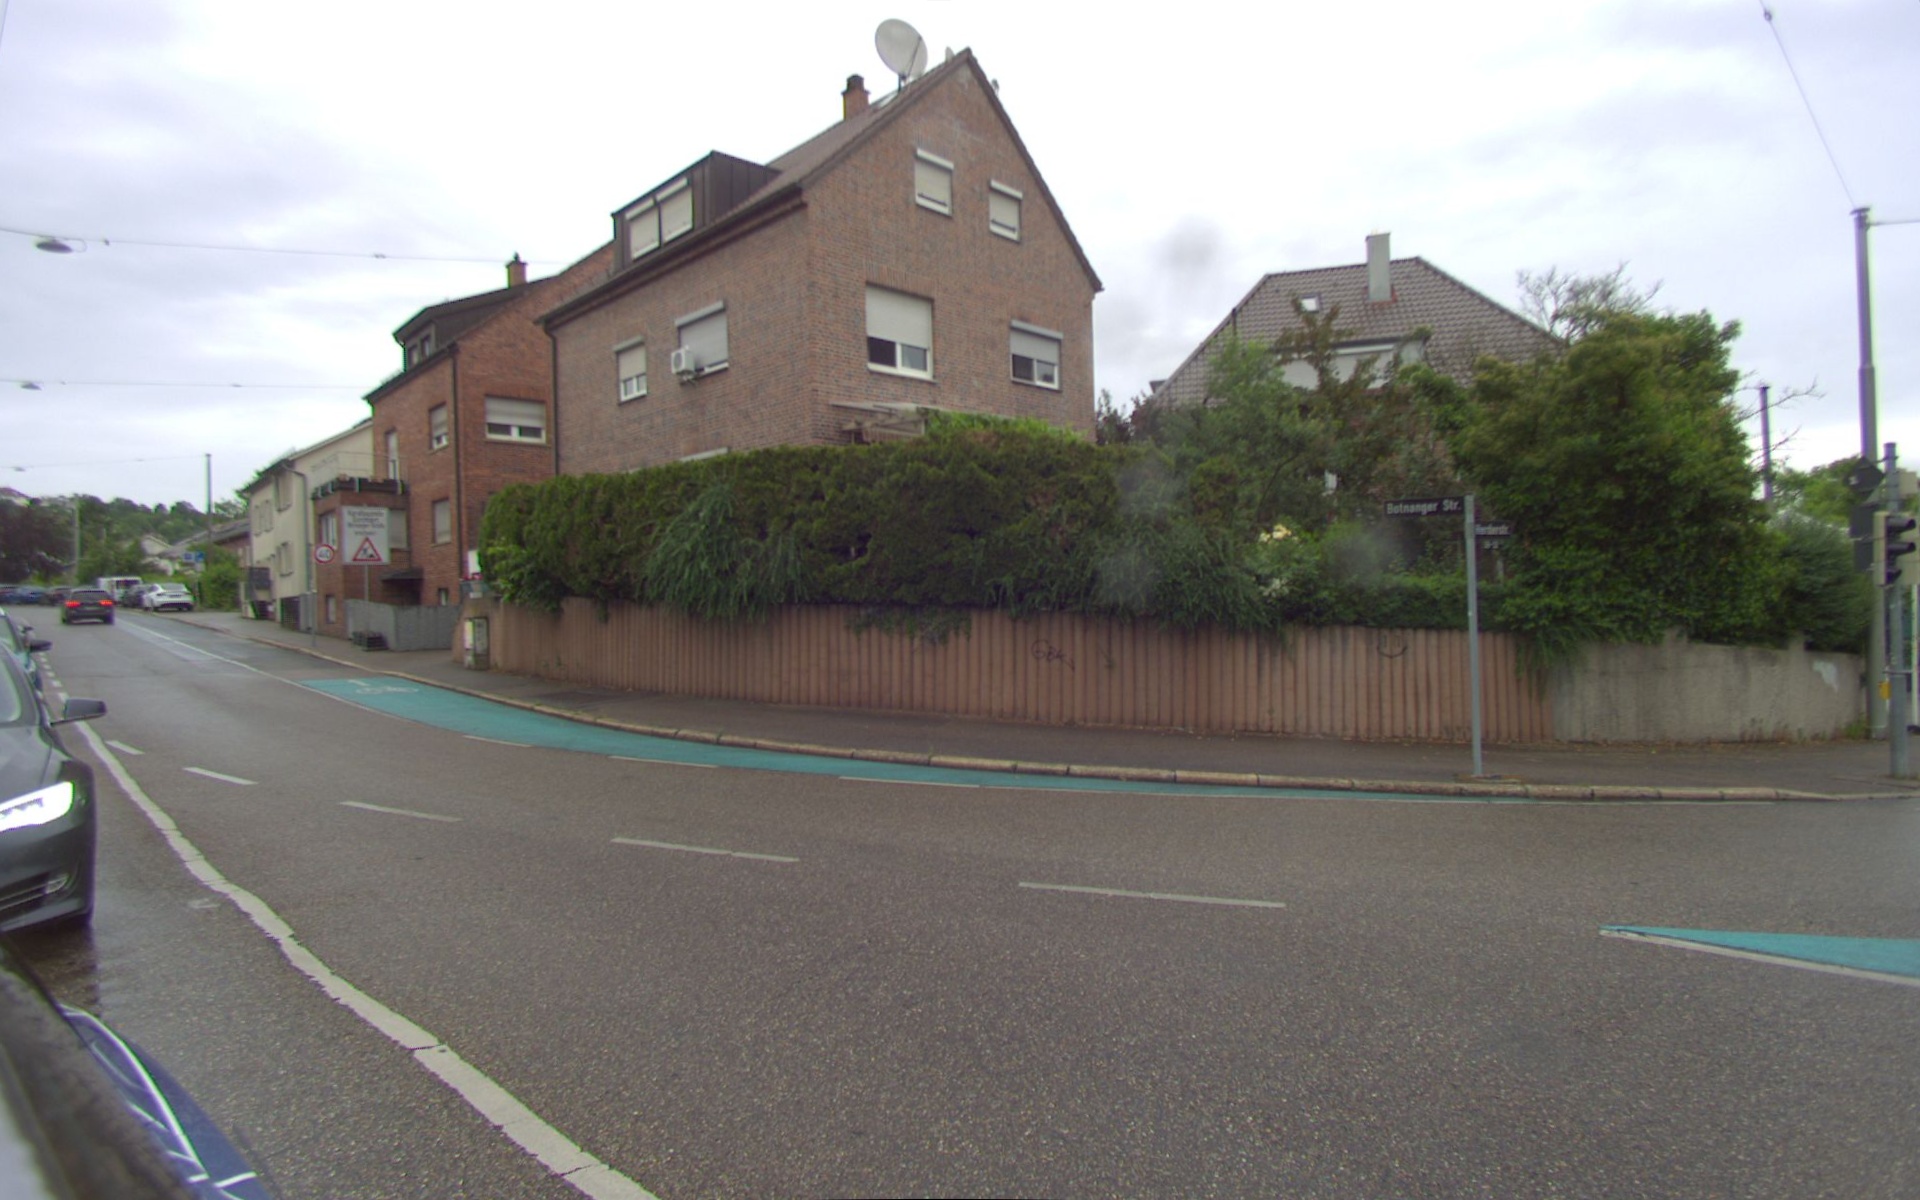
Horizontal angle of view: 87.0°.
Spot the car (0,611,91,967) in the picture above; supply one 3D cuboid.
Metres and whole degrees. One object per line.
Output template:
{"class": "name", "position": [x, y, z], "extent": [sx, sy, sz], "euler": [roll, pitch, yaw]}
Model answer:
{"class": "car", "position": [-5.797, 0.794, 5.102], "extent": [4.002, 1.426, 1.845], "euler": [0, 0, 45]}

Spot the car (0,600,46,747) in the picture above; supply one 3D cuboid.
{"class": "car", "position": [-12.155, 0.801, 11.996], "extent": [3.785, 1.601, 1.765], "euler": [0, 0, 45]}

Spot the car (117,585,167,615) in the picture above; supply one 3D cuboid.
{"class": "car", "position": [-52.370, -0.025, 64.748], "extent": [4.262, 1.817, 1.791], "euler": [0, 2, 42]}

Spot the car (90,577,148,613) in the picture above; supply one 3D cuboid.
{"class": "car", "position": [-57.016, -0.335, 68.606], "extent": [4.544, 2.303, 2.229], "euler": [0, 2, 41]}

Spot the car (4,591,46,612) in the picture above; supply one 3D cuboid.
{"class": "car", "position": [-71.265, 0.112, 77.101], "extent": [3.895, 1.501, 1.605], "euler": [-1, 2, 36]}

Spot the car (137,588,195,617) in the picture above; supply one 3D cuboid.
{"class": "car", "position": [-46.422, 0.148, 59.153], "extent": [4.262, 1.577, 1.921], "euler": [0, 2, 42]}

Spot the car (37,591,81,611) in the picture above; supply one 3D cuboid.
{"class": "car", "position": [-66.627, 0.074, 74.831], "extent": [3.854, 1.407, 1.634], "euler": [-1, 2, 36]}

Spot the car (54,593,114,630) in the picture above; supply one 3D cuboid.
{"class": "car", "position": [-41.806, 0.537, 48.273], "extent": [4.175, 1.693, 1.827], "euler": [1, -1, 45]}
